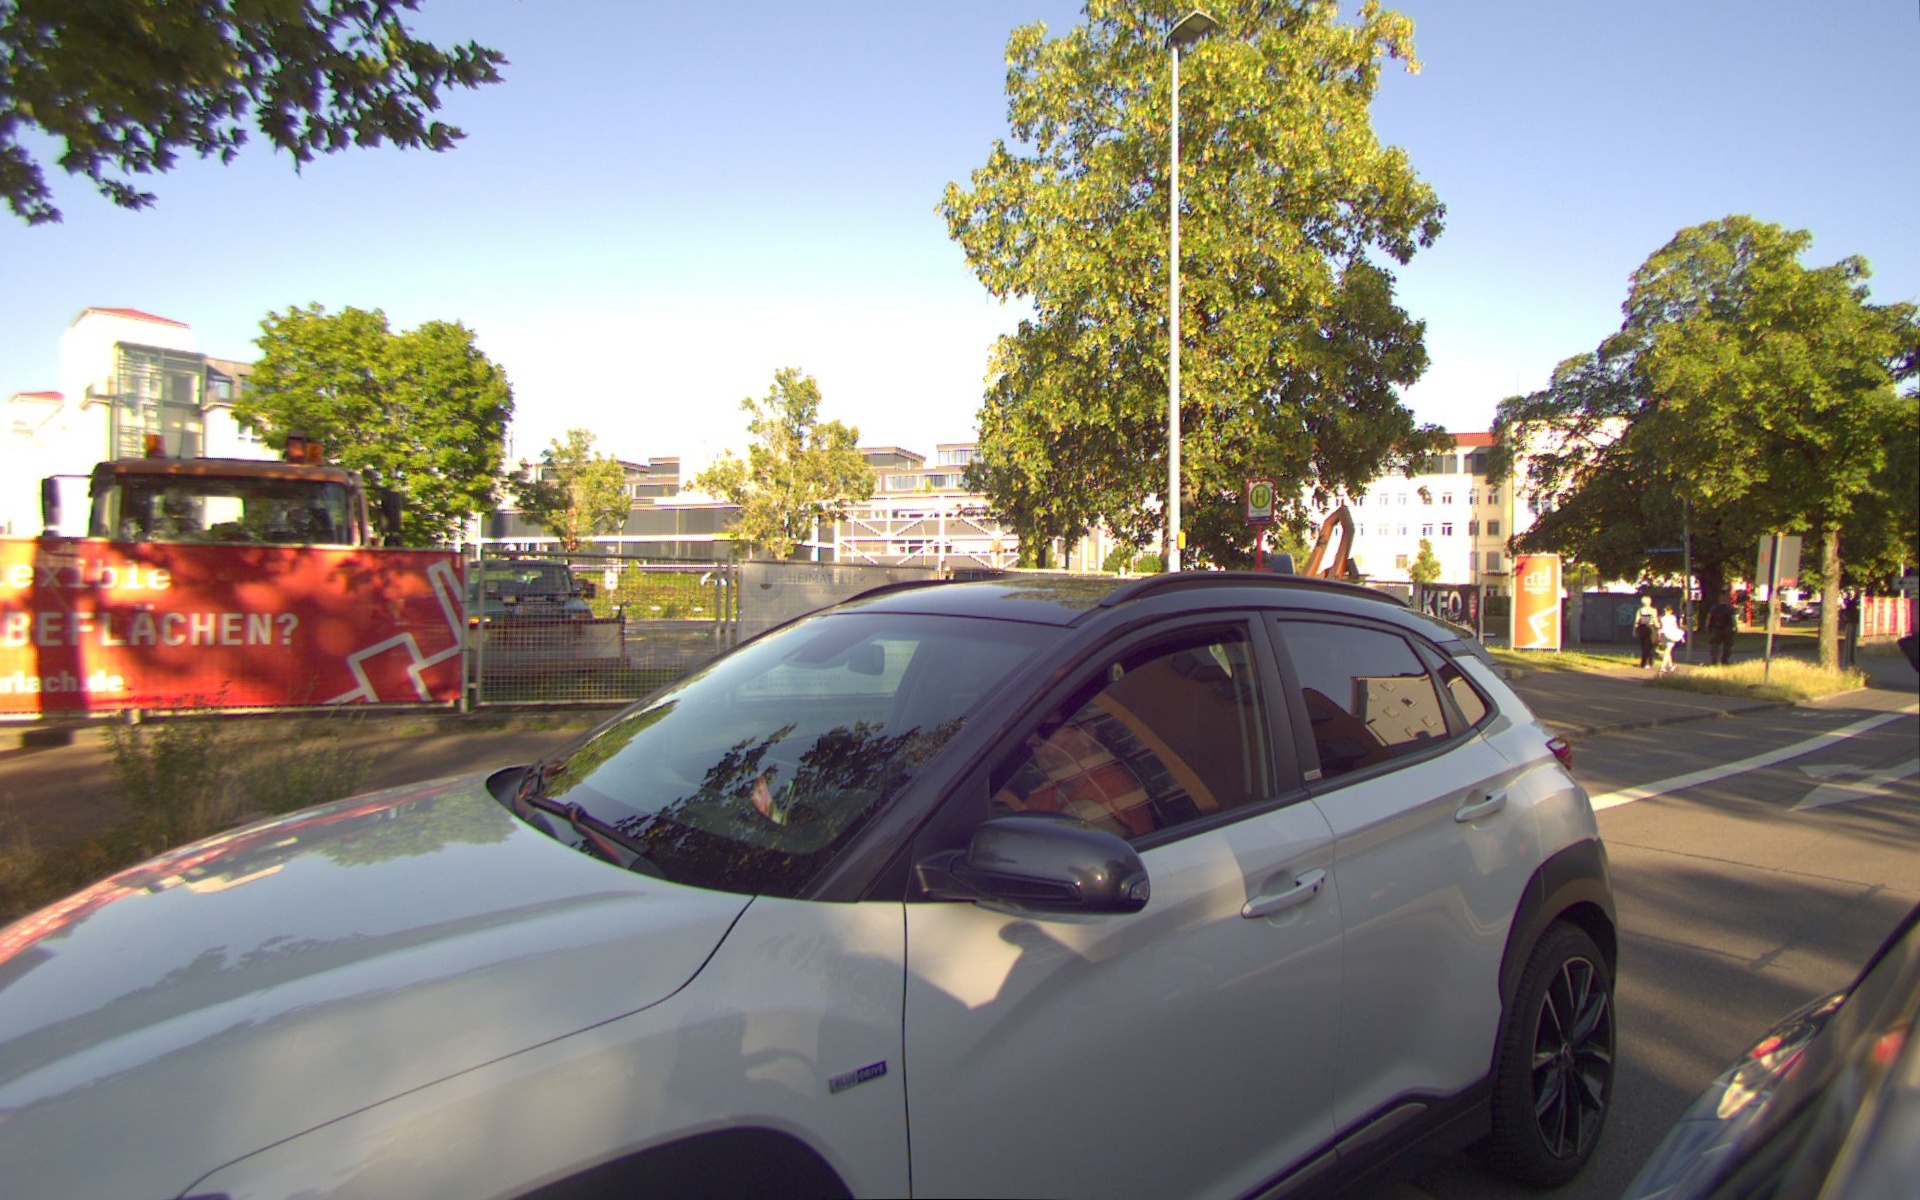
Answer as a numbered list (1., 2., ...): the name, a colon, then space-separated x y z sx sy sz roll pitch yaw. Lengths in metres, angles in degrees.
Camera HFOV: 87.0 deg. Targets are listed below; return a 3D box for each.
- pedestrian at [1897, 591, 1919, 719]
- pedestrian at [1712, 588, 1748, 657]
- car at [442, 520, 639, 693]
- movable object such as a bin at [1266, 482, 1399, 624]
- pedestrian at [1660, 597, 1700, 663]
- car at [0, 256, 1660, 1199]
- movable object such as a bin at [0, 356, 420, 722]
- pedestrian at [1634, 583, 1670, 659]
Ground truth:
1. pedestrian: 13.751 0.754 13.994 0.894 1.759 1.078 0 0 28
2. pedestrian: 19.265 0.554 25.325 0.692 1.689 0.630 0 0 38
3. car: -5.668 0.046 13.296 2.001 1.851 4.612 0 0 -28
4. movable object such as a bin: 15.523 -1.877 42.764 3.910 5.547 6.022 0 0 6
5. pedestrian: 16.261 0.671 22.853 0.627 1.452 0.609 0 0 -40
6. car: -0.040 0.613 2.484 3.893 1.618 1.894 3 -2 -39
7. movable object such as a bin: -8.391 -0.547 12.057 3.154 3.087 6.295 0 0 -31
8. pedestrian: 16.267 0.480 23.778 0.607 1.759 0.629 0 0 44
